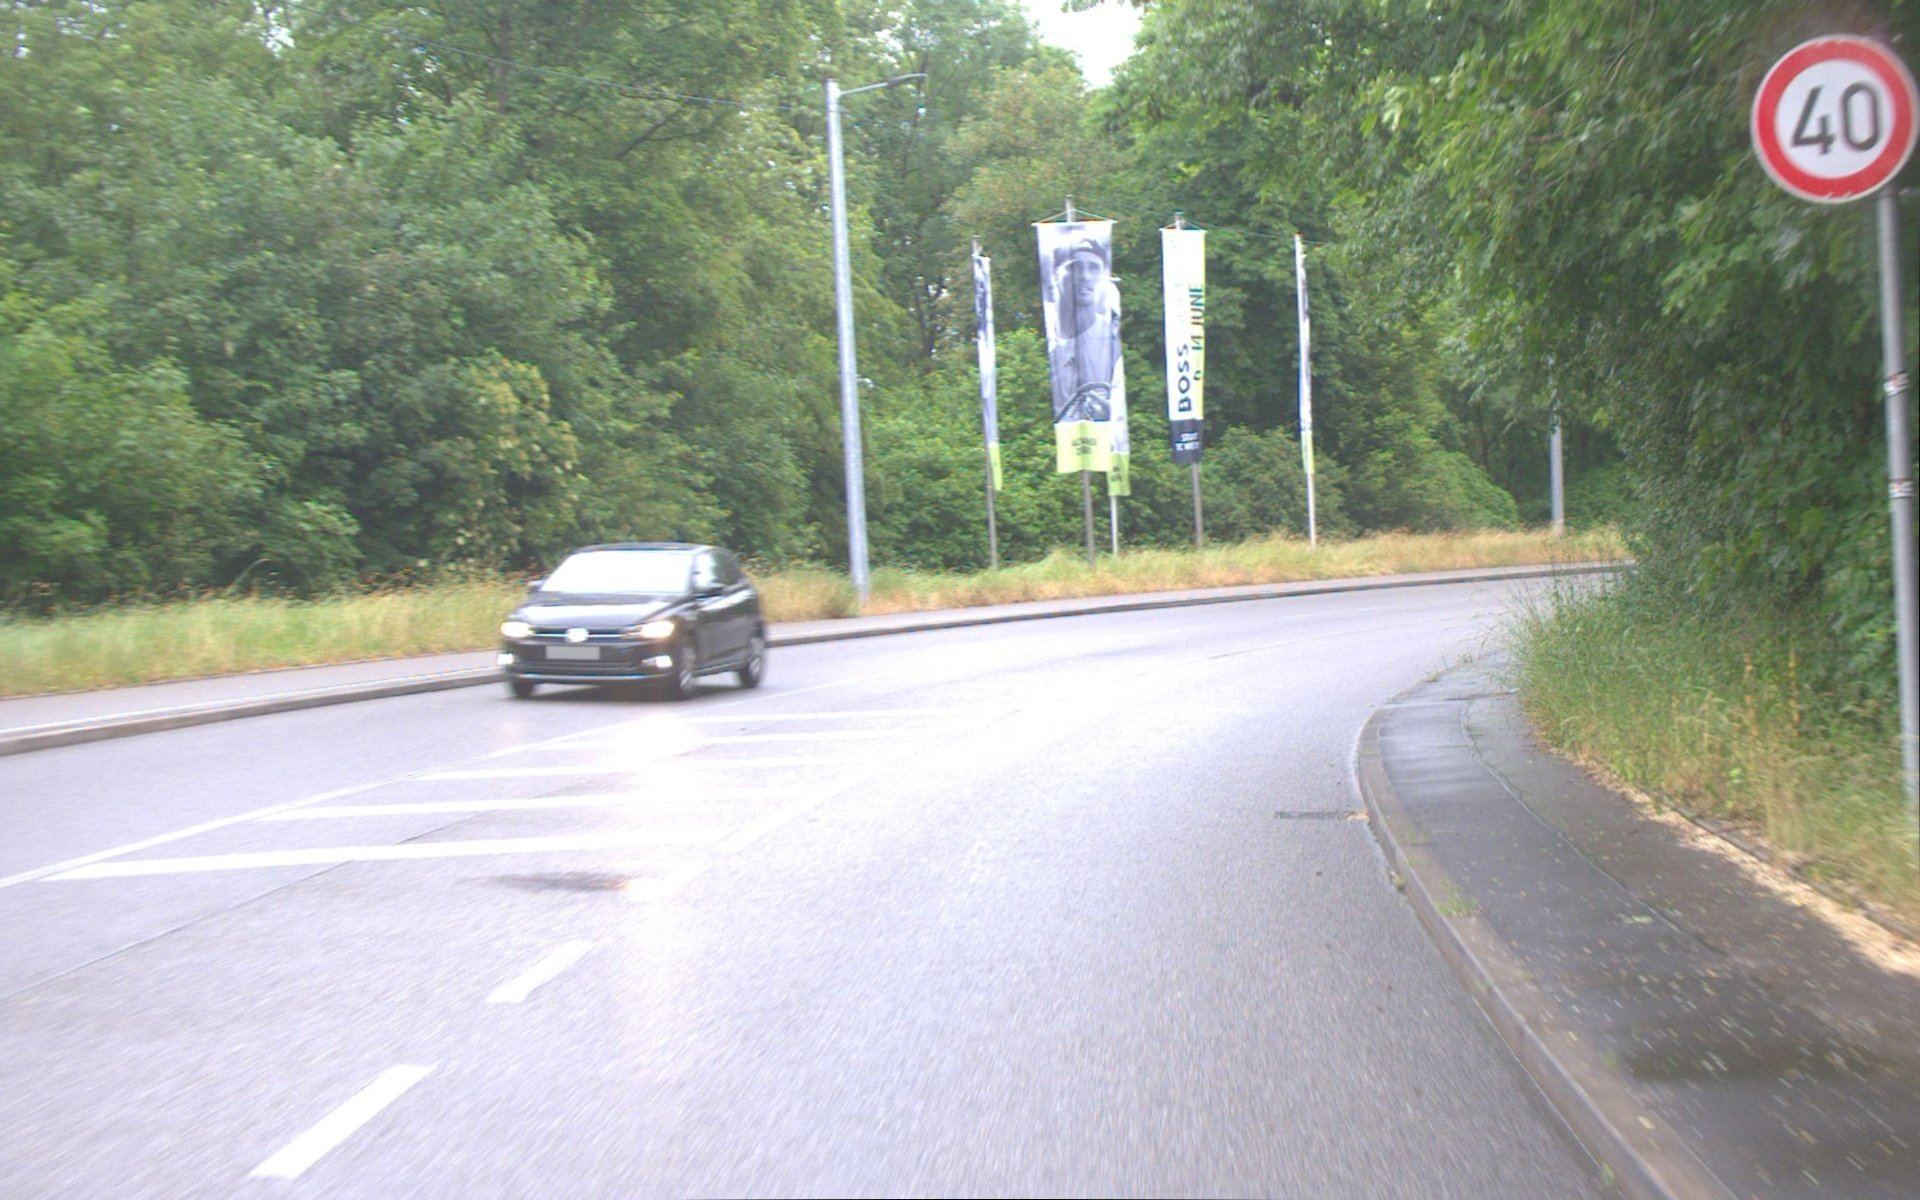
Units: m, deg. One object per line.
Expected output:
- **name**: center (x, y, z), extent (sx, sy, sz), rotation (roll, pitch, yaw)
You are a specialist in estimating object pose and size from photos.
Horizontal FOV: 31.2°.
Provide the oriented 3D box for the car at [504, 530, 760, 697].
- **car**: center (-3.068, 0.081, 32.846), extent (1.595, 1.472, 3.791), rotation (1, 1, 8)
